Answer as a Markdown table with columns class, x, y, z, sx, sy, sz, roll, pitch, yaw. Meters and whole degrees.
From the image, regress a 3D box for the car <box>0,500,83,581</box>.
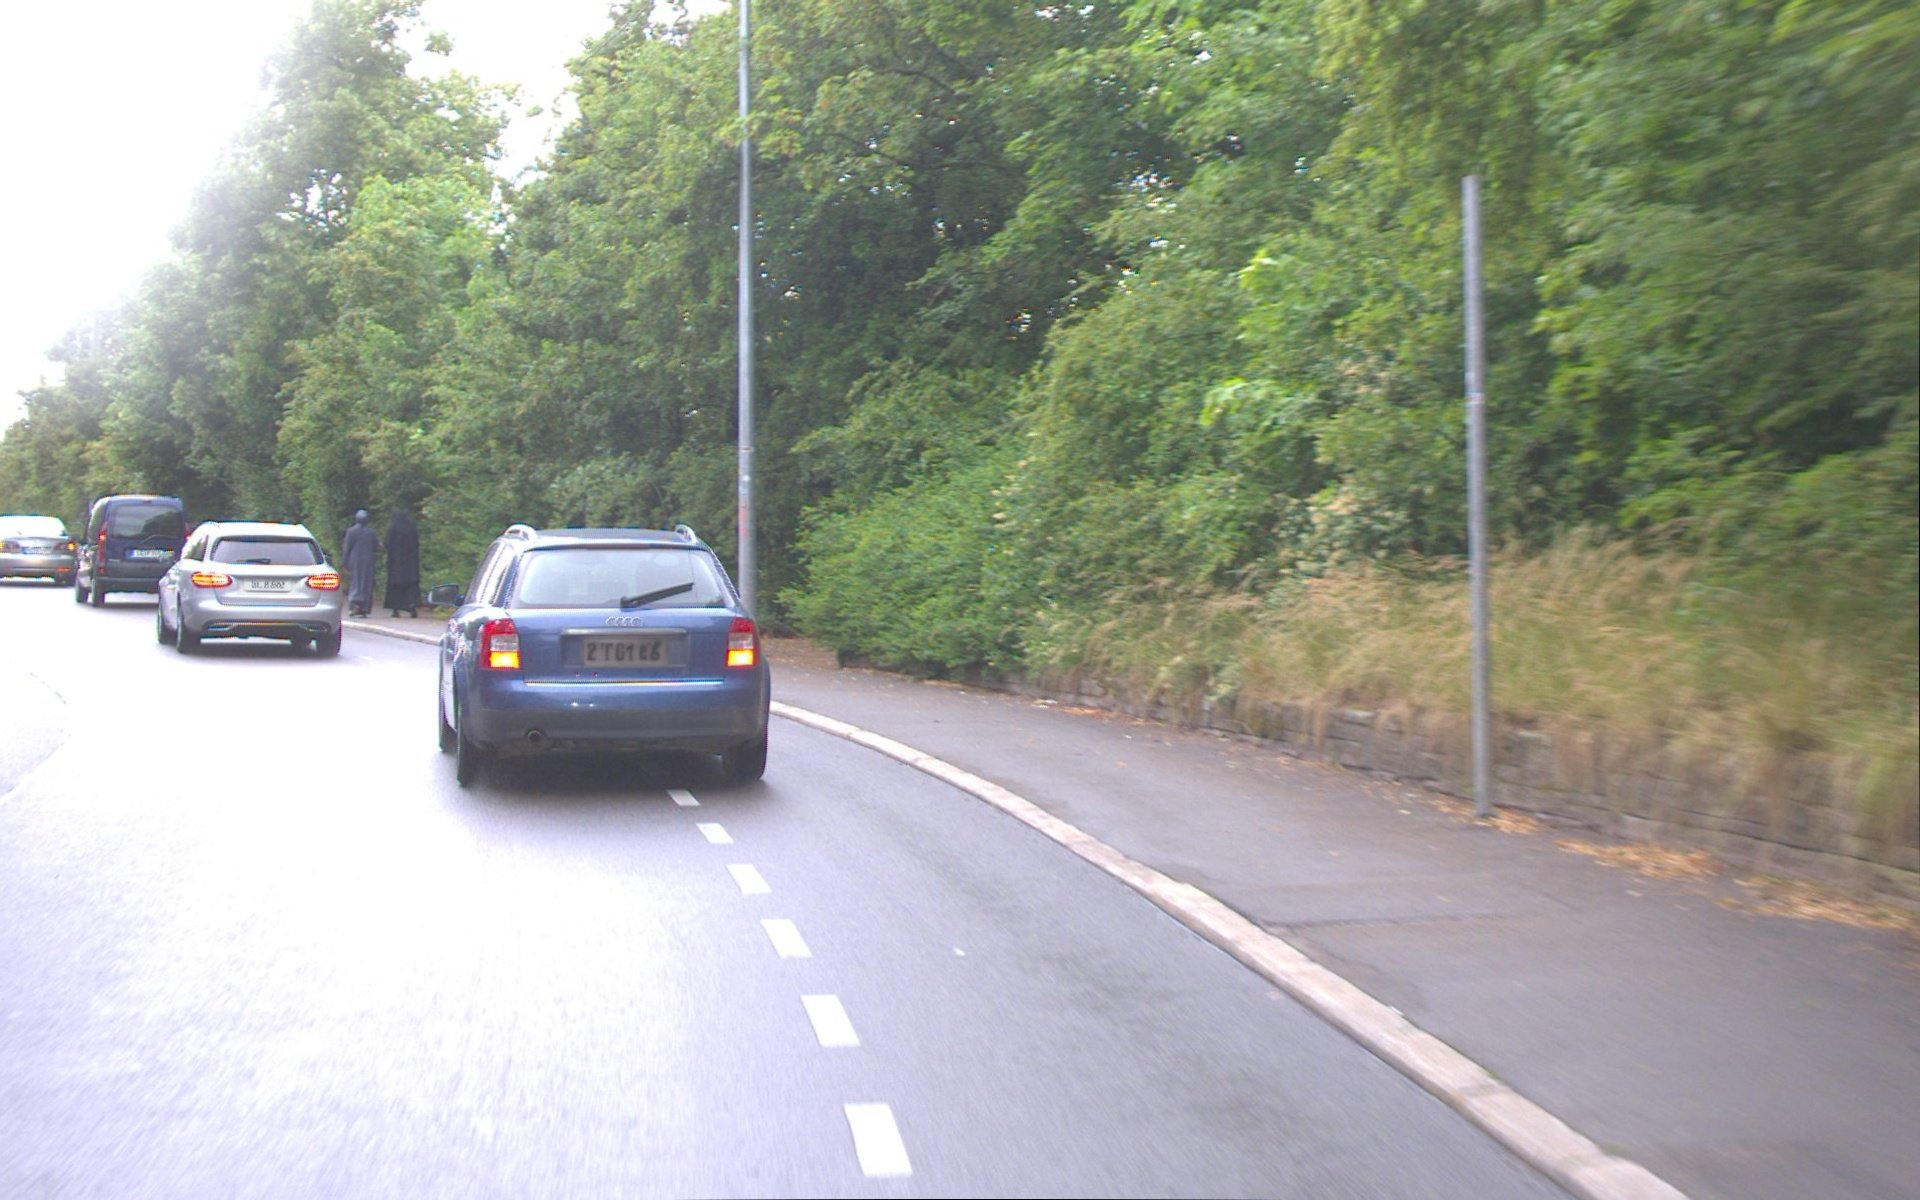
| class | x | y | z | sx | sy | sz | roll | pitch | yaw |
| --- | --- | --- | --- | --- | --- | --- | --- | --- | --- |
| car | -19.372 | -1.241 | 71.379 | 1.821 | 1.611 | 3.786 | -1 | 1 | -21 |

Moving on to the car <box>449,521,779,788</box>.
| class | x | y | z | sx | sy | sz | roll | pitch | yaw |
| --- | --- | --- | --- | --- | --- | --- | --- | --- | --- |
| car | -2.117 | 0.240 | 20.304 | 1.747 | 1.402 | 4.001 | 0 | 2 | -8 |

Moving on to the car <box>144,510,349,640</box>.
| class | x | y | z | sx | sy | sz | roll | pitch | yaw |
| --- | --- | --- | --- | --- | --- | --- | --- | --- | --- |
| car | -8.180 | -0.318 | 39.187 | 1.890 | 1.384 | 4.001 | 0 | 2 | -17 |

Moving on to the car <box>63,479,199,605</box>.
| class | x | y | z | sx | sy | sz | roll | pitch | yaw |
| --- | --- | --- | --- | --- | --- | --- | --- | --- | --- |
| car | -13.861 | -0.941 | 57.316 | 1.788 | 1.947 | 4.001 | -4 | 1 | -18 |

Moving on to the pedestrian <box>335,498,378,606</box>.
| class | x | y | z | sx | sy | sz | roll | pitch | yaw |
| --- | --- | --- | --- | --- | --- | --- | --- | --- | --- |
| pedestrian | -8.788 | -0.701 | 50.039 | 0.552 | 1.561 | 0.487 | -1 | 2 | -15 |

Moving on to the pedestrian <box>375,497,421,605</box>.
| class | x | y | z | sx | sy | sz | roll | pitch | yaw |
| --- | --- | --- | --- | --- | --- | --- | --- | --- | --- |
| pedestrian | -8.197 | -0.712 | 50.130 | 0.595 | 1.561 | 0.669 | 0 | 1 | -15 |
